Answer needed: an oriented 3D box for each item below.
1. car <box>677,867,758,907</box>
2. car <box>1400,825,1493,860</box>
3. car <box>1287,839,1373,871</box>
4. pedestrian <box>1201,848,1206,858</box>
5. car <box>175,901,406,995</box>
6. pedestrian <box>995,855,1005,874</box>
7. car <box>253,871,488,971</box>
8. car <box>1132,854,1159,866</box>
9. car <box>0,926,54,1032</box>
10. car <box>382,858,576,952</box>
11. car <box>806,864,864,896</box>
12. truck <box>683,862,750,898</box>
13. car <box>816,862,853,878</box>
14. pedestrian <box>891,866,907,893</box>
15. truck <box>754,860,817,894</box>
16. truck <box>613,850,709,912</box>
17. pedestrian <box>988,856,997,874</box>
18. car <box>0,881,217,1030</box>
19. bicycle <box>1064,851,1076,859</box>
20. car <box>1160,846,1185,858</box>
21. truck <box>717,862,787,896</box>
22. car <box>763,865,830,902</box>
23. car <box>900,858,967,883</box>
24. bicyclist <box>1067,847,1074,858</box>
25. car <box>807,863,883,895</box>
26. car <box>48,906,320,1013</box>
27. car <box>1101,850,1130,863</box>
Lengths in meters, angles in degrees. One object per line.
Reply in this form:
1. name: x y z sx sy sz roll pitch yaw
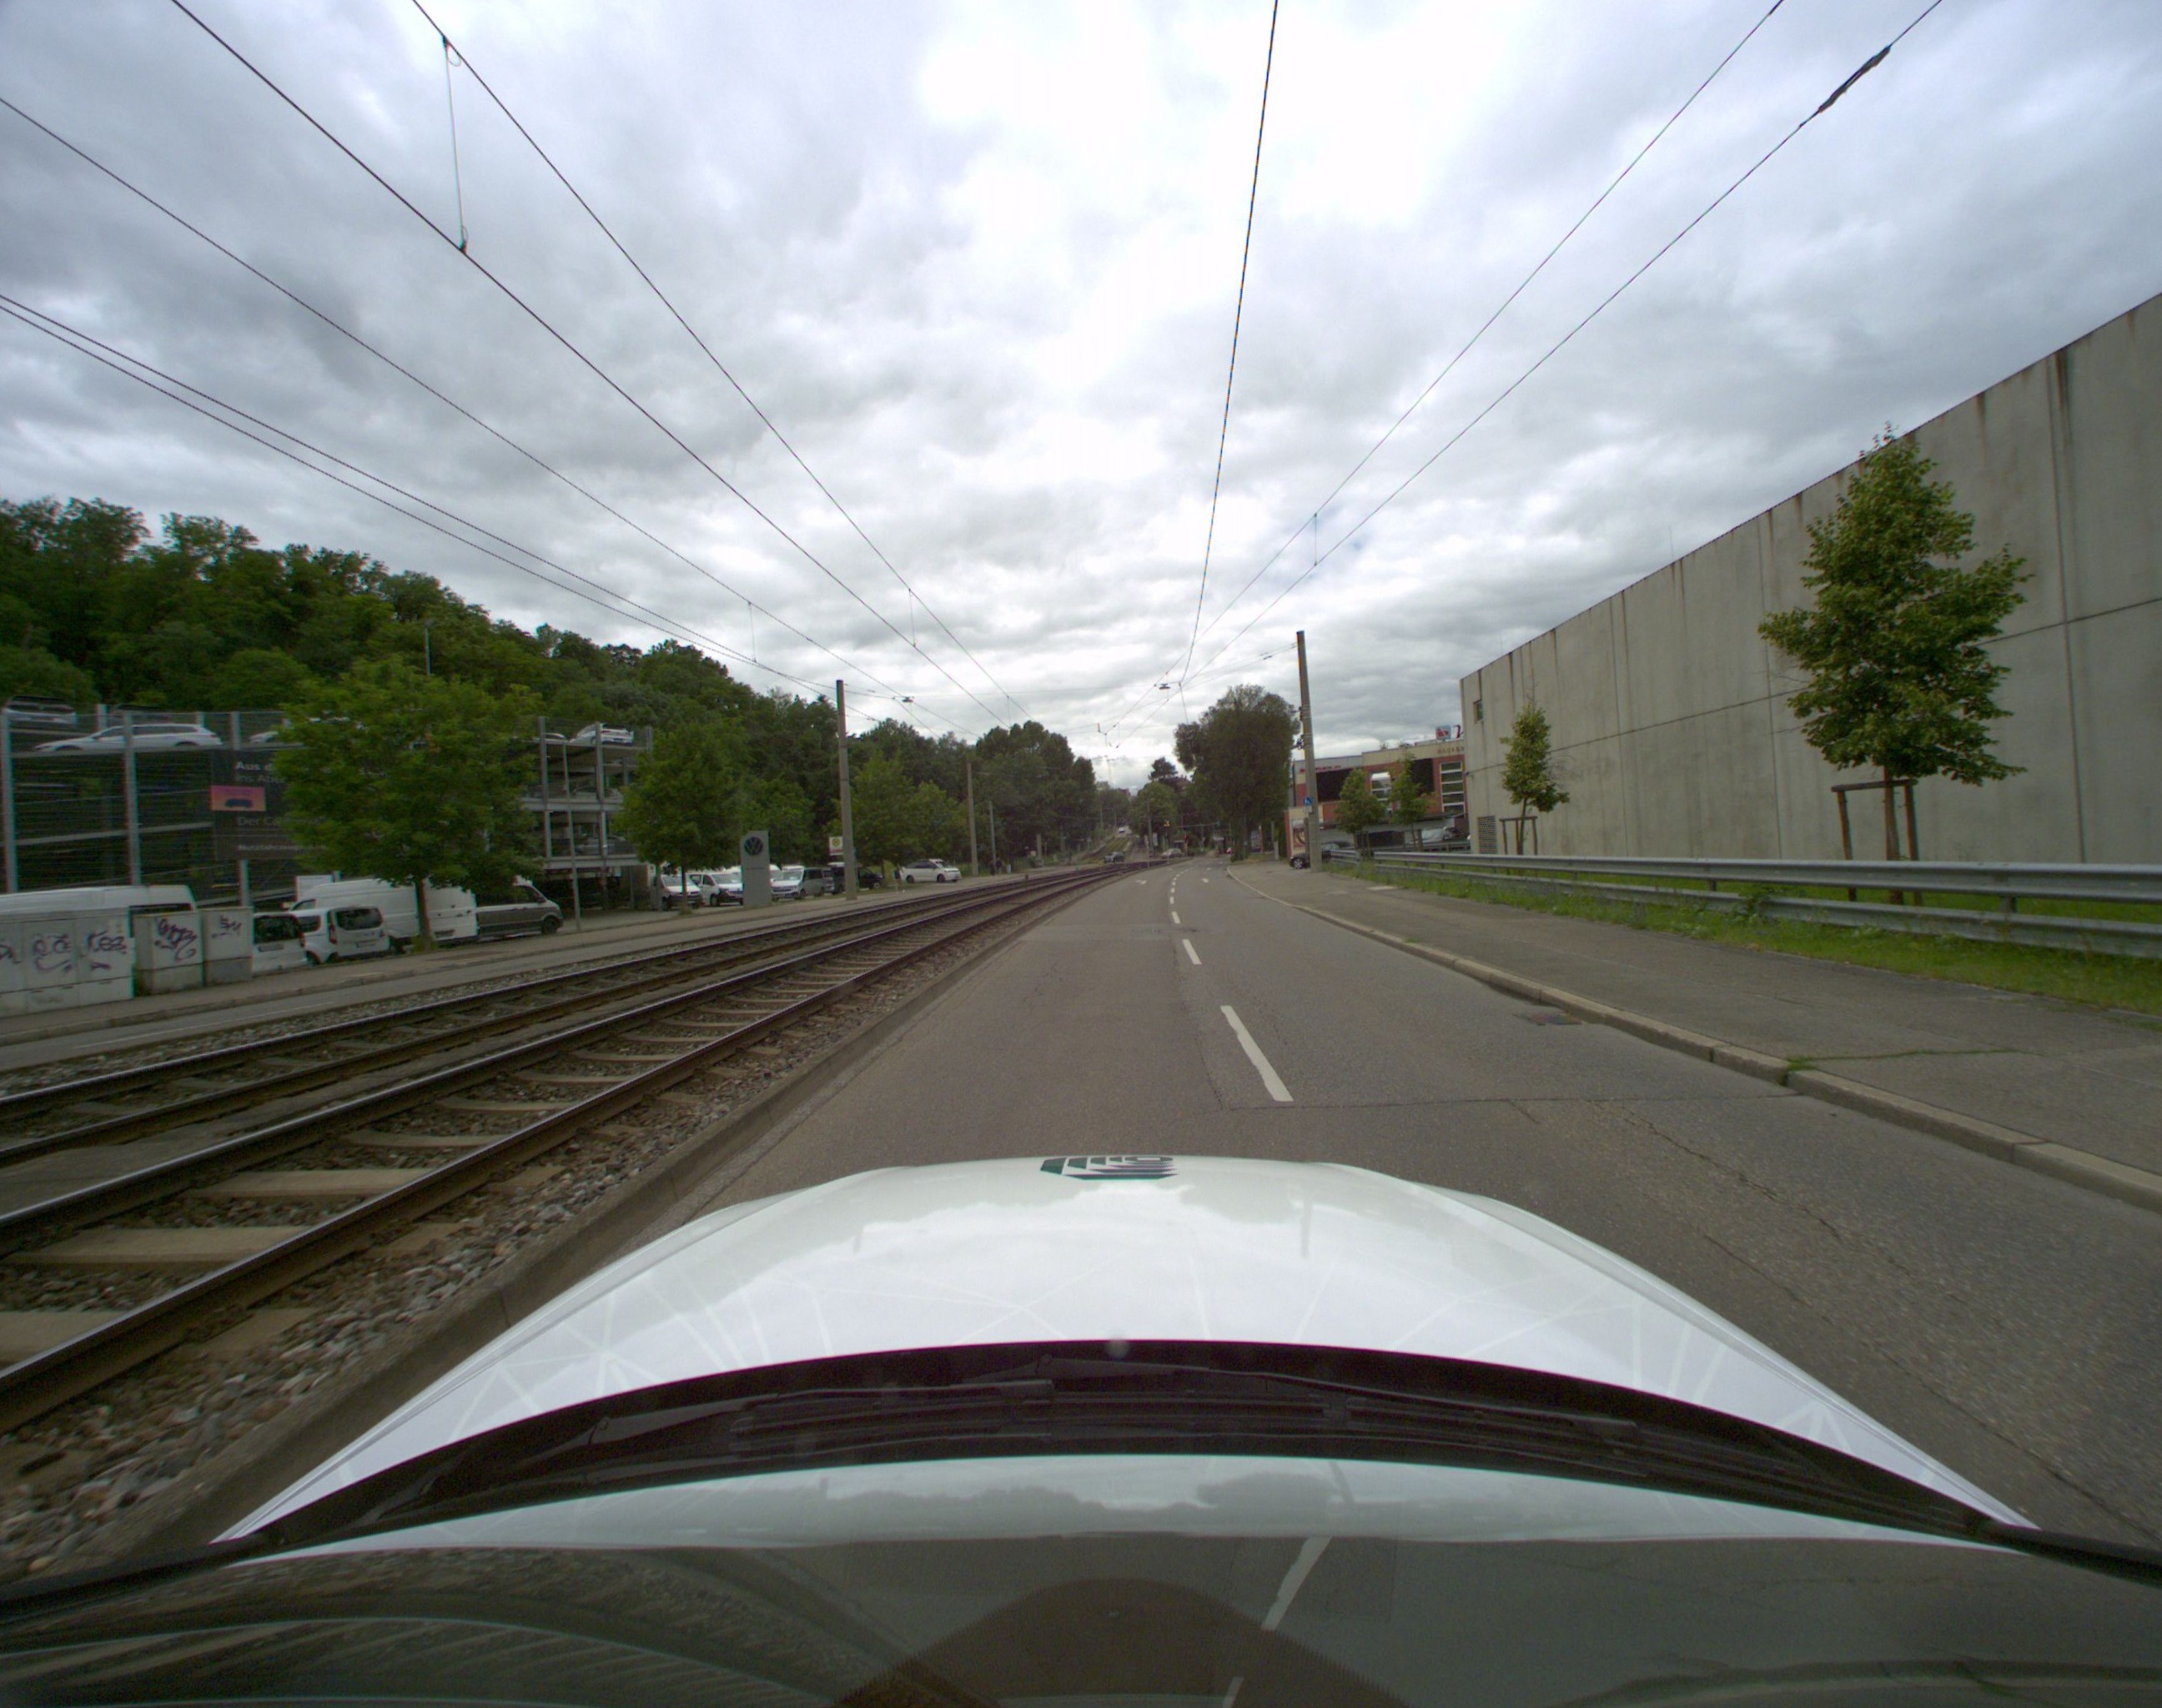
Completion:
1. car: -21.169 1.948 47.387 4.669 2.013 2.013 -4 0 33
2. car: 19.009 -0.592 42.327 4.536 1.548 2.139 -4 1 -31
3. car: 13.810 0.052 45.240 4.178 1.443 1.775 -4 0 35
4. pedestrian: 22.059 -0.201 146.717 0.764 1.852 0.912 -3 -1 9
5. car: -21.644 2.549 22.436 4.348 2.105 2.005 -4 0 2
6. pedestrian: -7.898 1.011 79.163 0.672 1.813 0.858 -2 0 9
7. car: -21.908 2.020 25.251 5.444 2.602 2.251 -4 0 6
8. car: 8.950 0.846 112.702 1.974 1.515 4.529 -3 0 30
9. car: -22.457 2.512 15.074 4.348 1.910 2.005 -4 0 2
10. car: -22.296 1.757 30.602 2.095 3.019 5.951 -4 0 9
11. car: -17.252 1.780 57.315 1.984 2.013 5.137 -4 0 5
12. truck: -30.076 2.174 67.139 5.007 2.588 2.484 -4 0 31
13. car: -34.128 2.184 112.863 1.974 2.013 4.432 -3 0 38
14. pedestrian: -11.468 1.612 51.265 0.716 1.655 1.042 -1 0 -1
15. truck: -25.852 2.022 71.254 5.007 2.588 2.484 -4 0 31
16. truck: -23.384 1.544 45.229 5.861 3.085 2.134 -4 0 36
17. pedestrian: -8.650 1.114 79.255 0.624 1.713 0.858 -2 0 9
18. car: -21.909 2.154 17.558 4.348 2.819 2.005 -4 0 2
19. bicycle: -2.003 0.180 148.058 0.829 1.343 2.966 -3 -1 -31
20. car: 14.773 -0.292 131.653 1.872 1.532 4.284 -7 -1 39
21. truck: -28.212 2.152 69.694 5.703 2.588 2.484 -4 0 31
22. car: -17.751 1.799 51.129 1.984 2.013 4.925 -4 0 5
23. car: -12.019 1.350 66.345 5.009 1.888 2.179 -2 -1 26
24. bicyclist: -1.891 -0.297 147.835 0.827 1.849 1.041 -4 -1 -32
25. car: -17.851 1.872 61.741 5.089 2.013 2.145 -4 0 -31
26. car: -21.655 2.508 19.799 4.348 2.105 2.005 -4 0 2
27. car: 4.992 0.332 117.296 1.670 1.532 4.283 -7 -2 40
